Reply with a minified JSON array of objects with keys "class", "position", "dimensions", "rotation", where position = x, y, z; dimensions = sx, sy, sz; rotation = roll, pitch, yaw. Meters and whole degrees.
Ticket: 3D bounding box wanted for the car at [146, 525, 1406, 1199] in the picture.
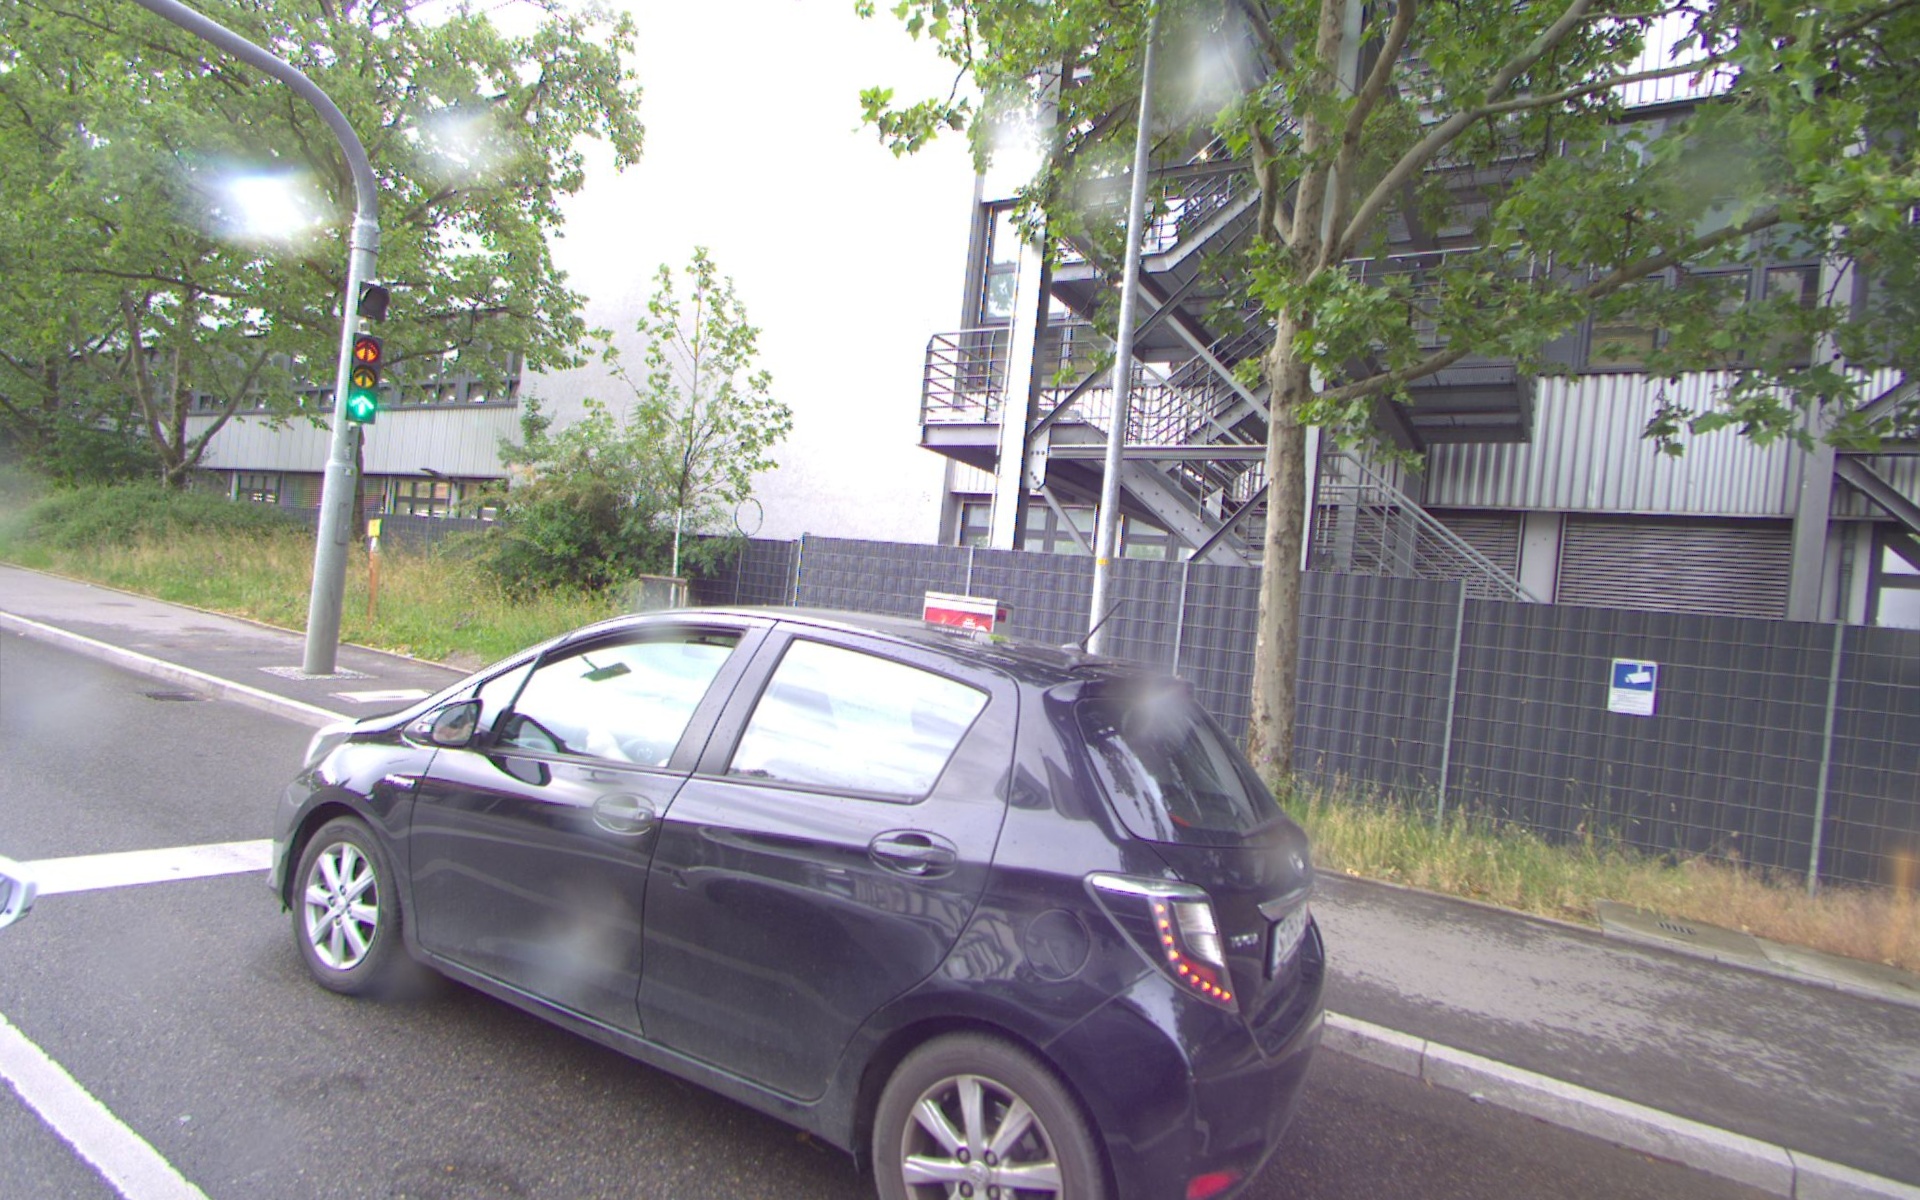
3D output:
[{"class":"car","position":[-0.728,0.735,3.585],"dimensions":[4.005,1.513,1.879],"rotation":[7,1,28]}]
